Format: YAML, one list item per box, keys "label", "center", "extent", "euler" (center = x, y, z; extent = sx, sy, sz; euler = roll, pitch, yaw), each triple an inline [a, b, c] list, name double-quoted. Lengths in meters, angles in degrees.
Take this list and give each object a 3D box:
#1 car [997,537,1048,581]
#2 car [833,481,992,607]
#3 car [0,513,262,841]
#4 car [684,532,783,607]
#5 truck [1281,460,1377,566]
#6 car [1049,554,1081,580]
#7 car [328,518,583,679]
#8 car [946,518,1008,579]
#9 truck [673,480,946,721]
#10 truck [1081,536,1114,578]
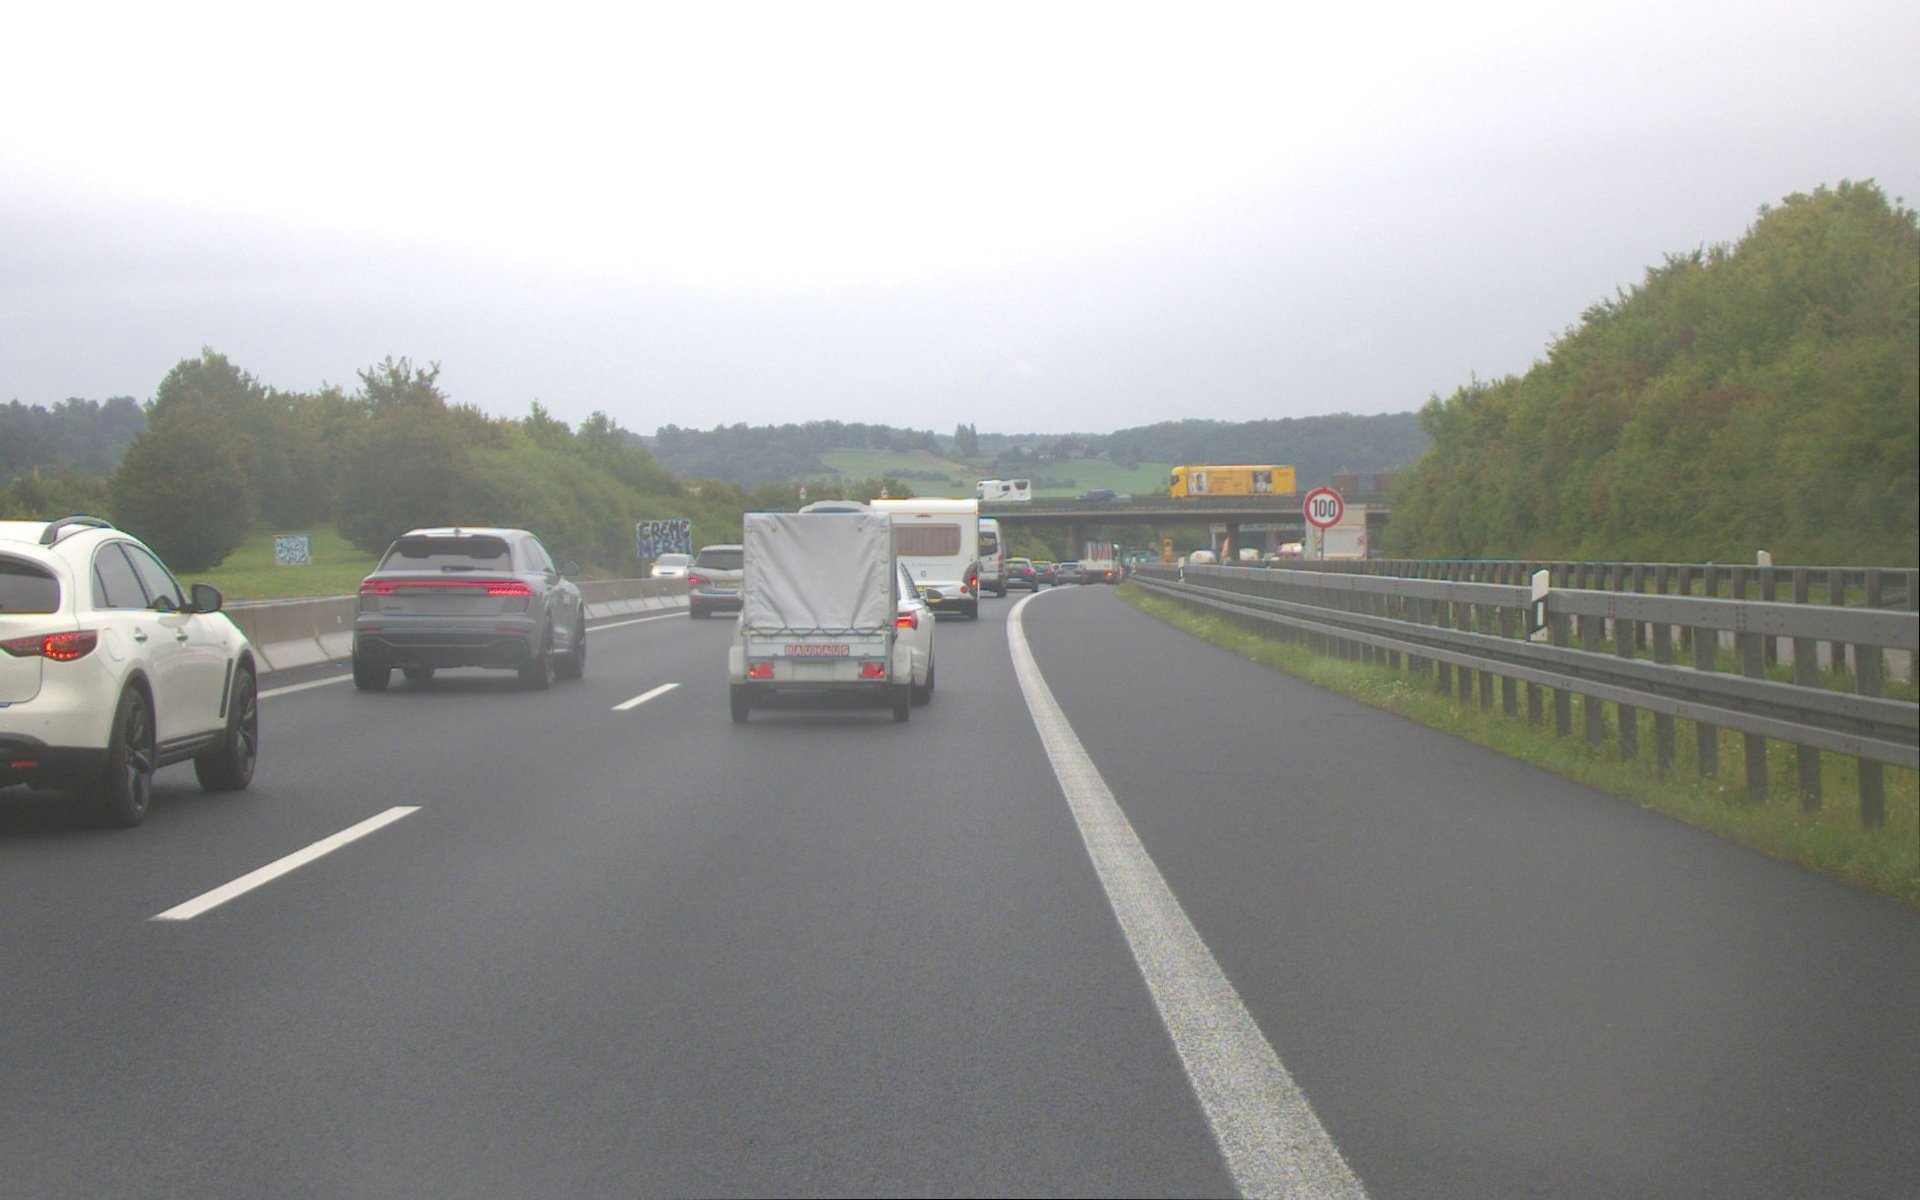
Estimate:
- label: "car"
  center: [2.593, -1.693, 141.511]
  extent: [1.994, 1.744, 4.000]
  euler: [1, 1, 3]
- label: "car"
  center: [-0.960, -1.229, 74.402]
  extent: [3.017, 2.607, 6.074]
  euler: [0, 1, 3]
- label: "car"
  center: [-5.338, 0.356, 19.355]
  extent: [1.976, 1.633, 4.501]
  euler: [0, 1, -1]
- label: "car"
  center: [-4.954, -0.688, 75.555]
  extent: [1.900, 1.607, 4.017]
  euler: [0, 1, 0]
- label: "truck"
  center: [18.233, -4.279, 170.750]
  extent: [4.094, 5.086, 10.463]
  euler: [0, 1, 3]
- label: "car"
  center: [7.119, -2.220, 232.314]
  extent: [1.994, 1.744, 4.000]
  euler: [1, 1, 4]
- label: "car"
  center: [-5.361, -0.051, 37.132]
  extent: [2.174, 1.626, 4.501]
  euler: [0, 1, -1]
- label: "car"
  center: [0.576, -1.760, 117.775]
  extent: [1.993, 2.029, 4.152]
  euler: [1, 1, -1]
- label: "truck"
  center: [-1.258, -0.061, 31.971]
  extent: [2.019, 1.979, 7.213]
  euler: [0, 1, 2]
- label: "truck"
  center: [10.243, -3.194, 256.031]
  extent: [2.278, 3.071, 7.245]
  euler: [1, 1, 4]
